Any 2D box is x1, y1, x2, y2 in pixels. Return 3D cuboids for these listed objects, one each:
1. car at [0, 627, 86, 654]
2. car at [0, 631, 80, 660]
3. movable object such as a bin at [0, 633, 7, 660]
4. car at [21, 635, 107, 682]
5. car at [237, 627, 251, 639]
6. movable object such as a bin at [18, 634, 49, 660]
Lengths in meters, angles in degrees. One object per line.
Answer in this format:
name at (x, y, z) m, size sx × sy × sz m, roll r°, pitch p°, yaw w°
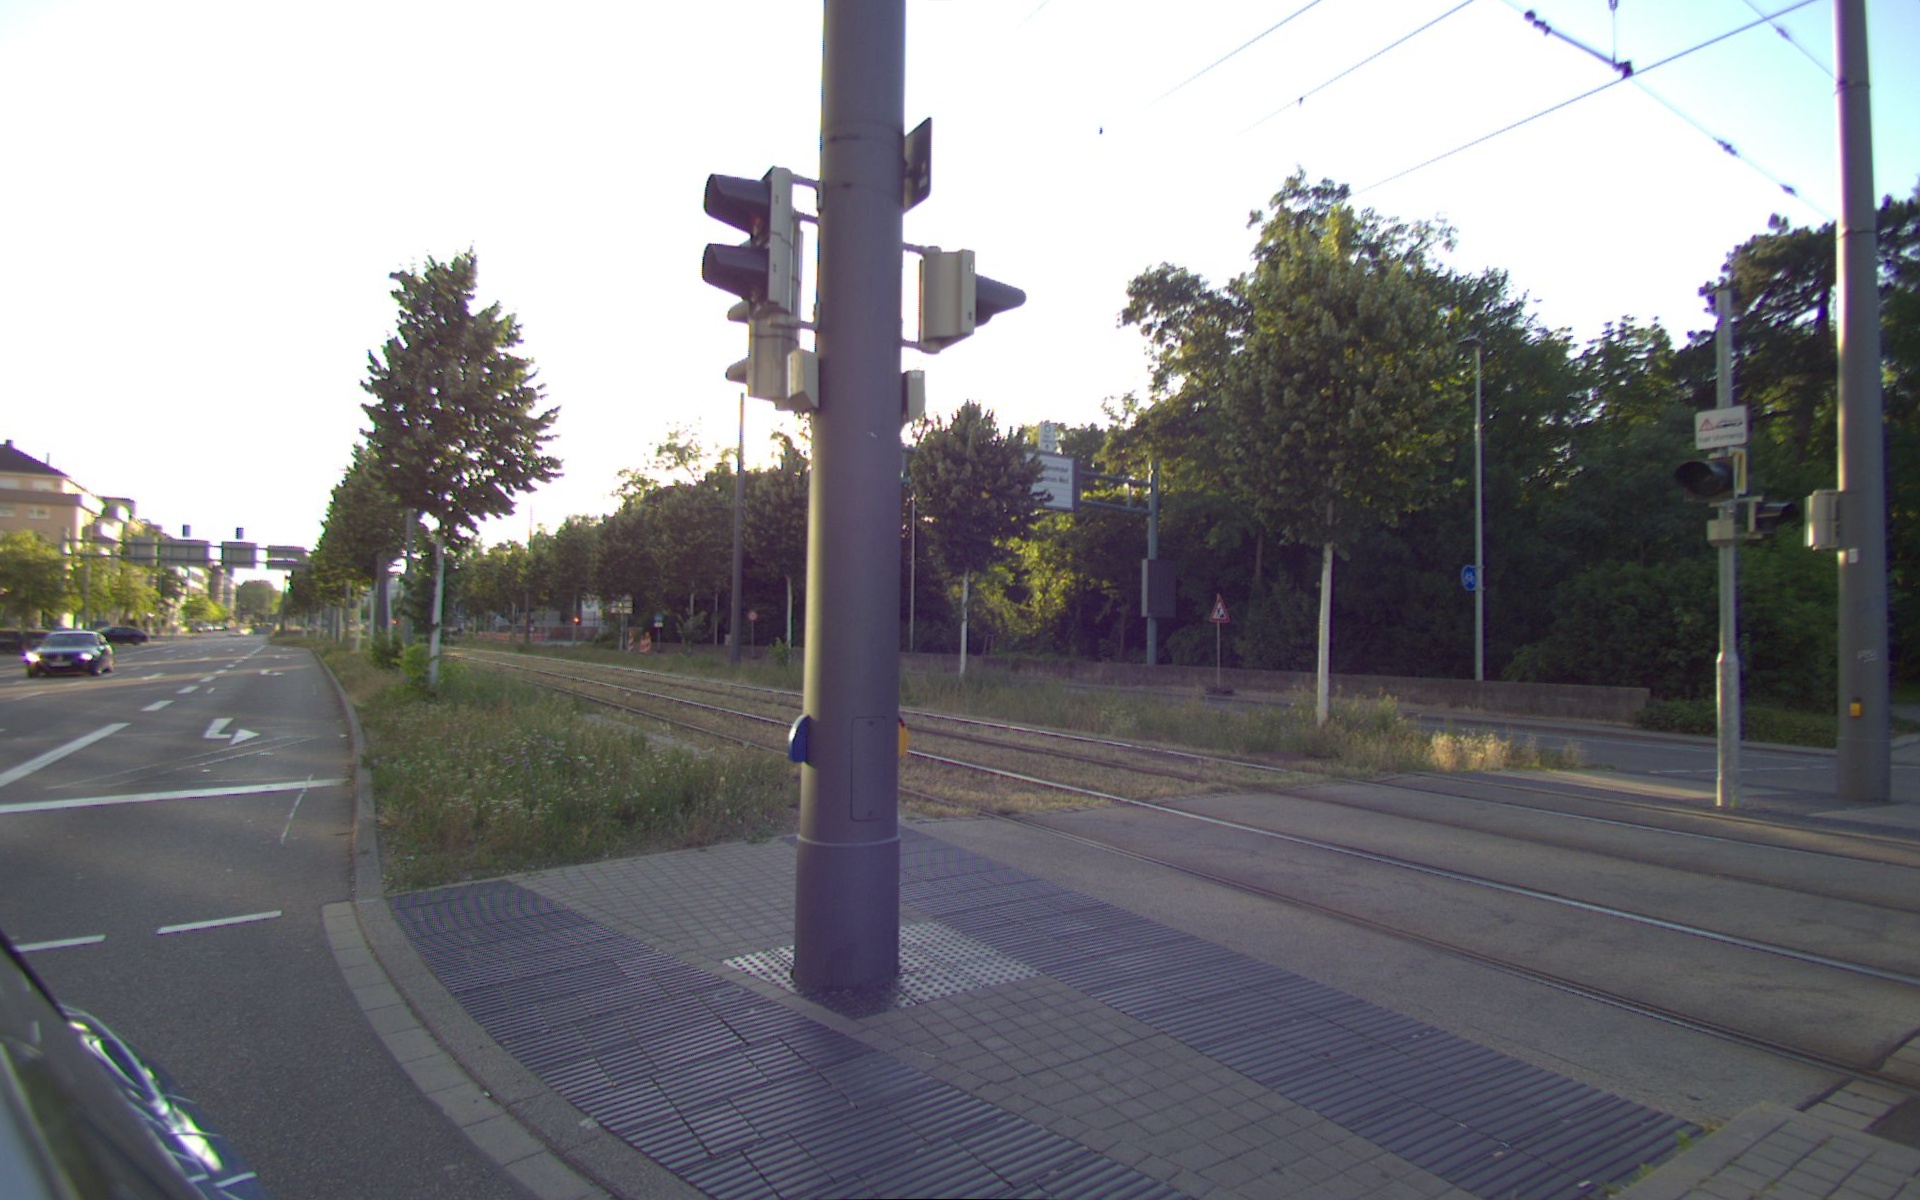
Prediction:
car at (-56.246, 2.486, 61.809) m, size 1.737 × 1.427 × 3.967 m, roll 1°, pitch -4°, yaw 18°
car at (-52.756, 2.554, 56.833) m, size 1.923 × 1.520 × 4.643 m, roll 2°, pitch -4°, yaw 16°
movable object such as a bin at (-50.067, 2.372, 52.273) m, size 1.001 × 1.357 × 1.163 m, roll 6°, pitch -5°, yaw -38°
car at (-29.648, 1.882, 33.585) m, size 1.834 × 1.406 × 4.285 m, roll 0°, pitch -2°, yaw -37°
car at (-122.936, 5.707, 173.711) m, size 1.700 × 1.935 × 4.303 m, roll 0°, pitch -2°, yaw -38°
movable object such as a bin at (-48.709, 2.458, 53.232) m, size 1.071 × 1.311 × 1.363 m, roll 5°, pitch -5°, yaw -40°
